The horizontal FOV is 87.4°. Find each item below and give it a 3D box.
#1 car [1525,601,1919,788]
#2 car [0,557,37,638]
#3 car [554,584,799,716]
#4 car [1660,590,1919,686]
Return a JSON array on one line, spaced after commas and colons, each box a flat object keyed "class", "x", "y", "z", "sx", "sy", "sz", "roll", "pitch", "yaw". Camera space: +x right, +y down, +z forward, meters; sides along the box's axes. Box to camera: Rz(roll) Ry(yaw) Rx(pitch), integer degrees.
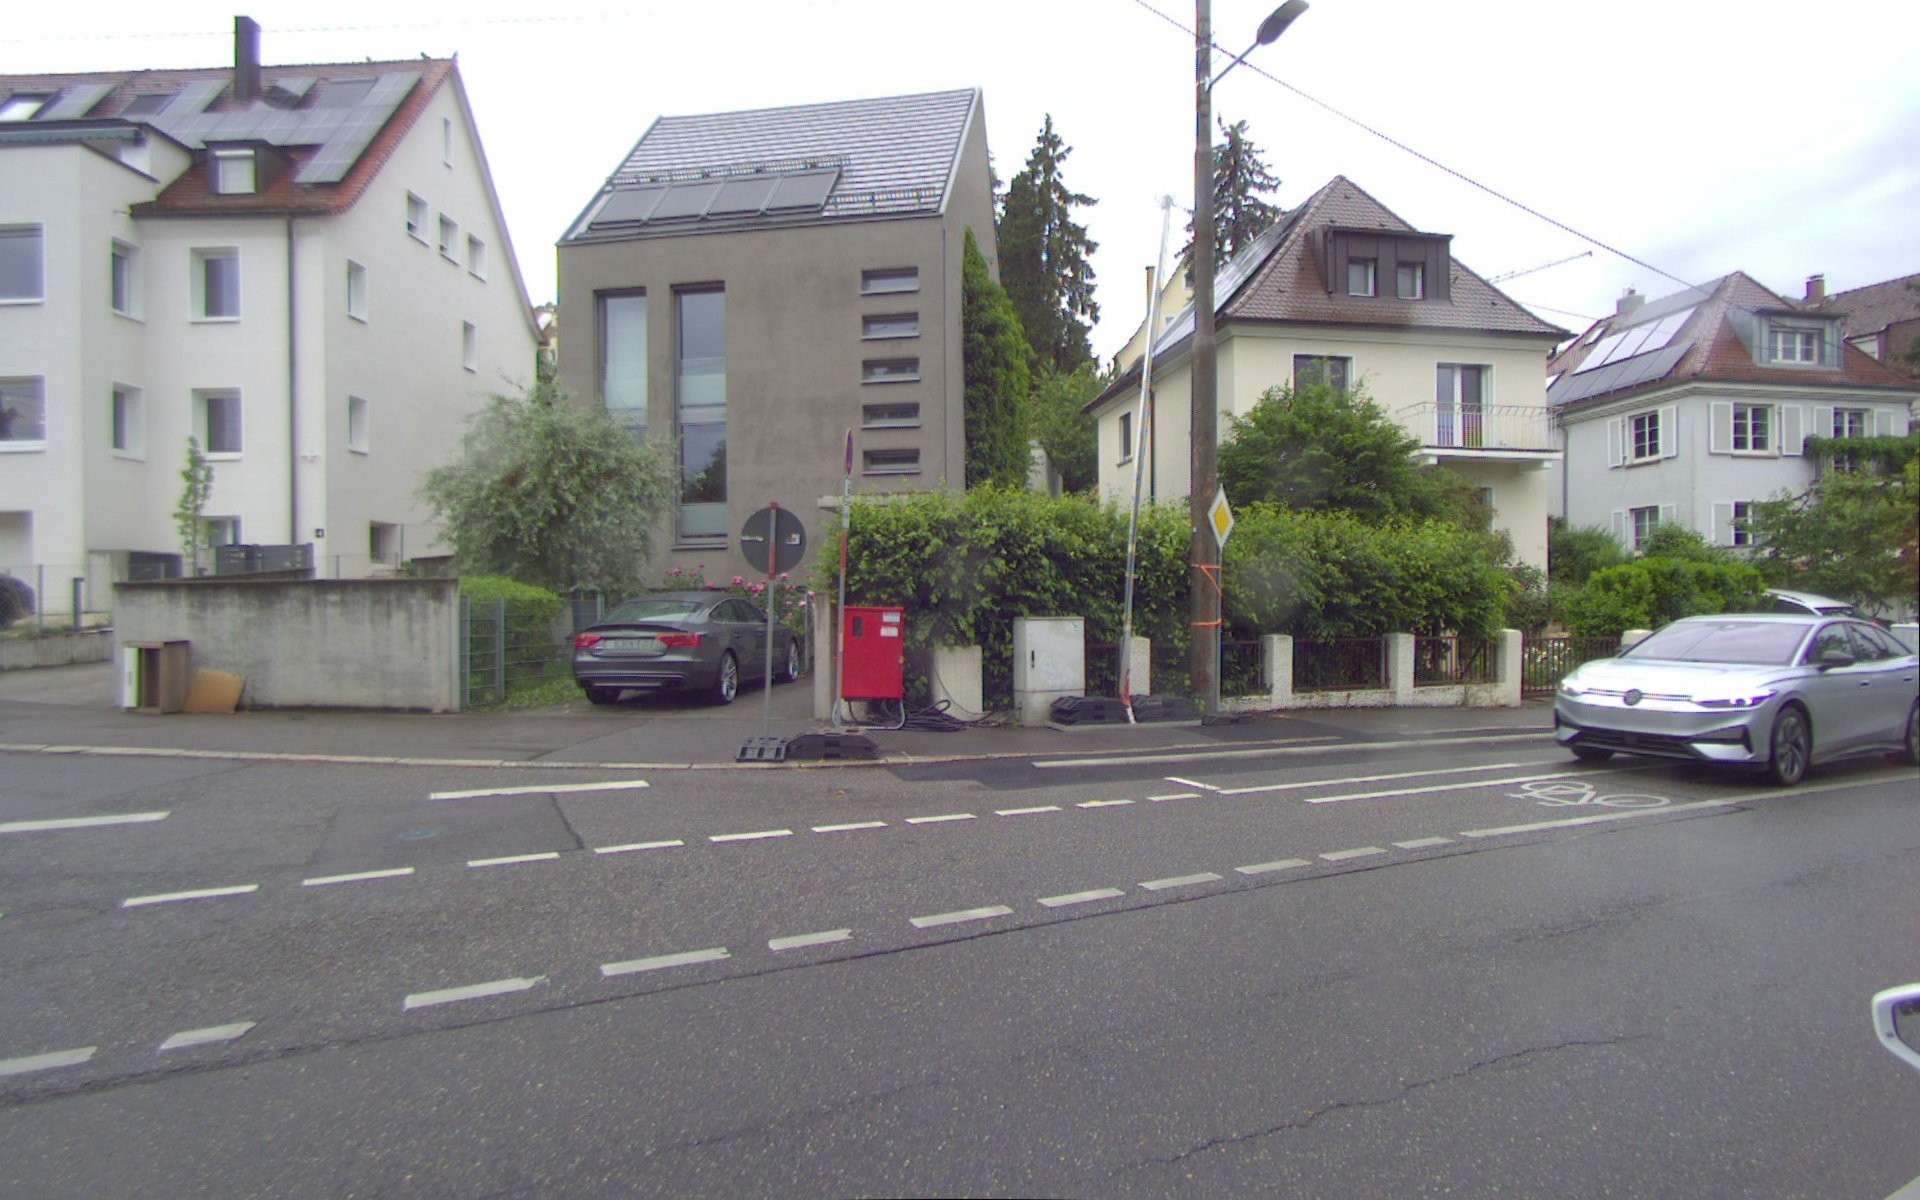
[{"class": "car", "x": 8.171, "y": 0.857, "z": 10.352, "sx": 4.760, "sy": 1.547, "sz": 1.845, "roll": 2, "pitch": 0, "yaw": -29}, {"class": "car", "x": -16.729, "y": 0.041, "z": 15.176, "sx": 1.576, "sy": 1.298, "sz": 4.008, "roll": 2, "pitch": 4, "yaw": 6}, {"class": "car", "x": -3.606, "y": 0.556, "z": 13.583, "sx": 1.740, "sy": 1.506, "sz": 4.002, "roll": 0, "pitch": 1, "yaw": 7}, {"class": "car", "x": 19.598, "y": 0.810, "z": 23.921, "sx": 1.870, "sy": 2.033, "sz": 4.628, "roll": 1, "pitch": 0, "yaw": -18}]
